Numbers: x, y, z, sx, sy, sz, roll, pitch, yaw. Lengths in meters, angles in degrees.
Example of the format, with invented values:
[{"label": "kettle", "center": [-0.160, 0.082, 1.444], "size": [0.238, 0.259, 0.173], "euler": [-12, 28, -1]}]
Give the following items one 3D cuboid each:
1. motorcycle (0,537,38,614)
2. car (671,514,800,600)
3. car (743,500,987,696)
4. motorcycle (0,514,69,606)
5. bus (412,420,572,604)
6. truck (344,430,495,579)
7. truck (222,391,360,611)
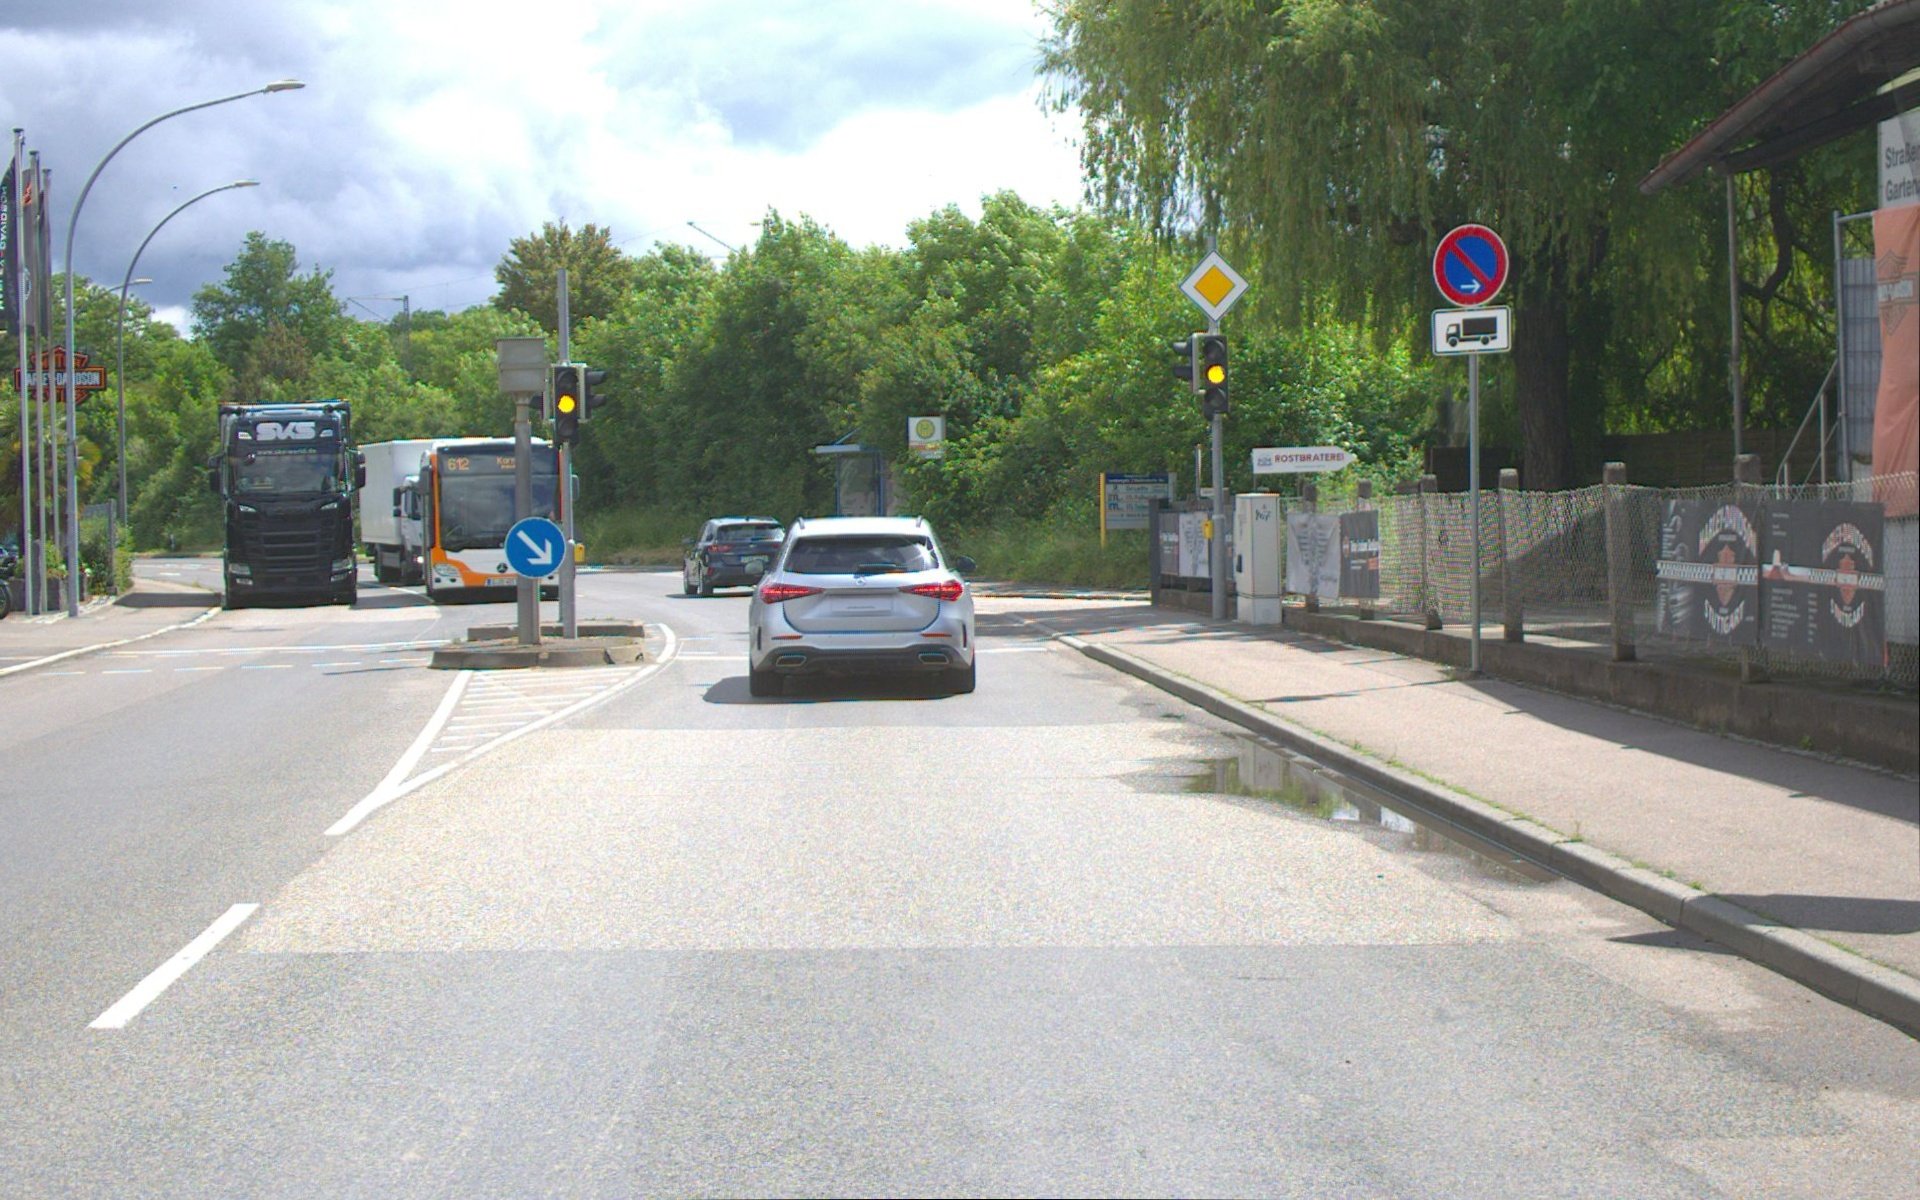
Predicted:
[{"label": "motorcycle", "center": [-16.130, -0.407, 55.127], "size": [2.502, 1.214, 0.925], "euler": [0, 1, 19]}, {"label": "car", "center": [-4.173, -0.819, 63.367], "size": [1.884, 1.503, 4.001], "euler": [-1, 2, -11]}, {"label": "car", "center": [-0.825, -0.071, 28.647], "size": [1.884, 1.503, 4.001], "euler": [-1, 2, -3]}, {"label": "motorcycle", "center": [-17.812, -0.747, 63.729], "size": [2.304, 1.677, 1.041], "euler": [0, 1, 19]}, {"label": "bus", "center": [-9.298, -1.753, 68.418], "size": [2.777, 3.255, 12.127], "euler": [-2, 2, -8]}, {"label": "truck", "center": [-13.864, -2.417, 87.513], "size": [2.839, 3.528, 9.728], "euler": [-1, 2, -14]}, {"label": "truck", "center": [-13.495, -1.958, 69.842], "size": [2.428, 4.117, 9.153], "euler": [1, 1, -9]}]
